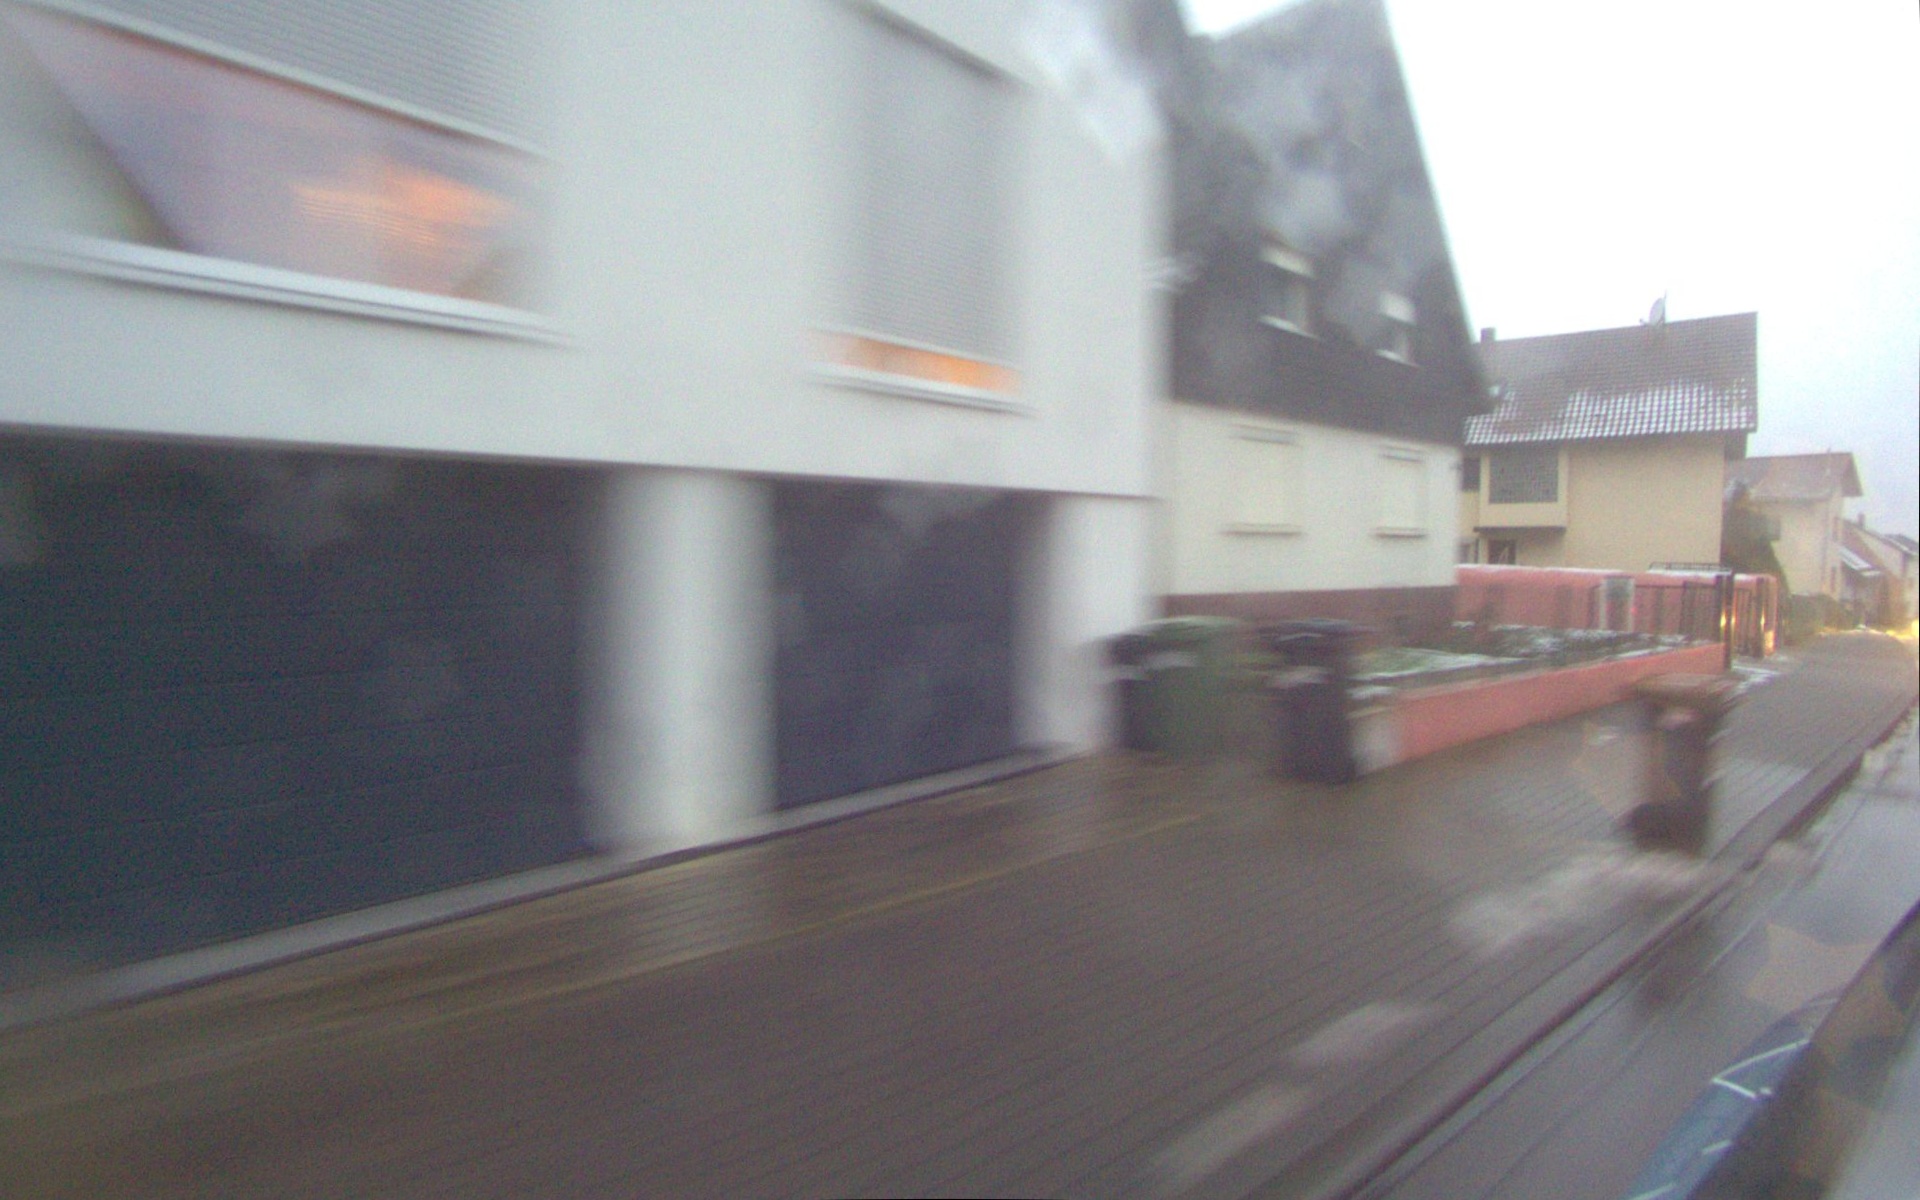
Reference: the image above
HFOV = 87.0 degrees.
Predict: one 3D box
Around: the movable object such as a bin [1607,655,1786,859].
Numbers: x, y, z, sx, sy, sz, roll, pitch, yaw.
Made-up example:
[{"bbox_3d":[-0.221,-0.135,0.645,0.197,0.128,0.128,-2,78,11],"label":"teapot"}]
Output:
[{"bbox_3d":[4.155,0.848,5.719,0.584,0.957,0.616,-1,7,-40],"label":"movable object such as a bin"}]
